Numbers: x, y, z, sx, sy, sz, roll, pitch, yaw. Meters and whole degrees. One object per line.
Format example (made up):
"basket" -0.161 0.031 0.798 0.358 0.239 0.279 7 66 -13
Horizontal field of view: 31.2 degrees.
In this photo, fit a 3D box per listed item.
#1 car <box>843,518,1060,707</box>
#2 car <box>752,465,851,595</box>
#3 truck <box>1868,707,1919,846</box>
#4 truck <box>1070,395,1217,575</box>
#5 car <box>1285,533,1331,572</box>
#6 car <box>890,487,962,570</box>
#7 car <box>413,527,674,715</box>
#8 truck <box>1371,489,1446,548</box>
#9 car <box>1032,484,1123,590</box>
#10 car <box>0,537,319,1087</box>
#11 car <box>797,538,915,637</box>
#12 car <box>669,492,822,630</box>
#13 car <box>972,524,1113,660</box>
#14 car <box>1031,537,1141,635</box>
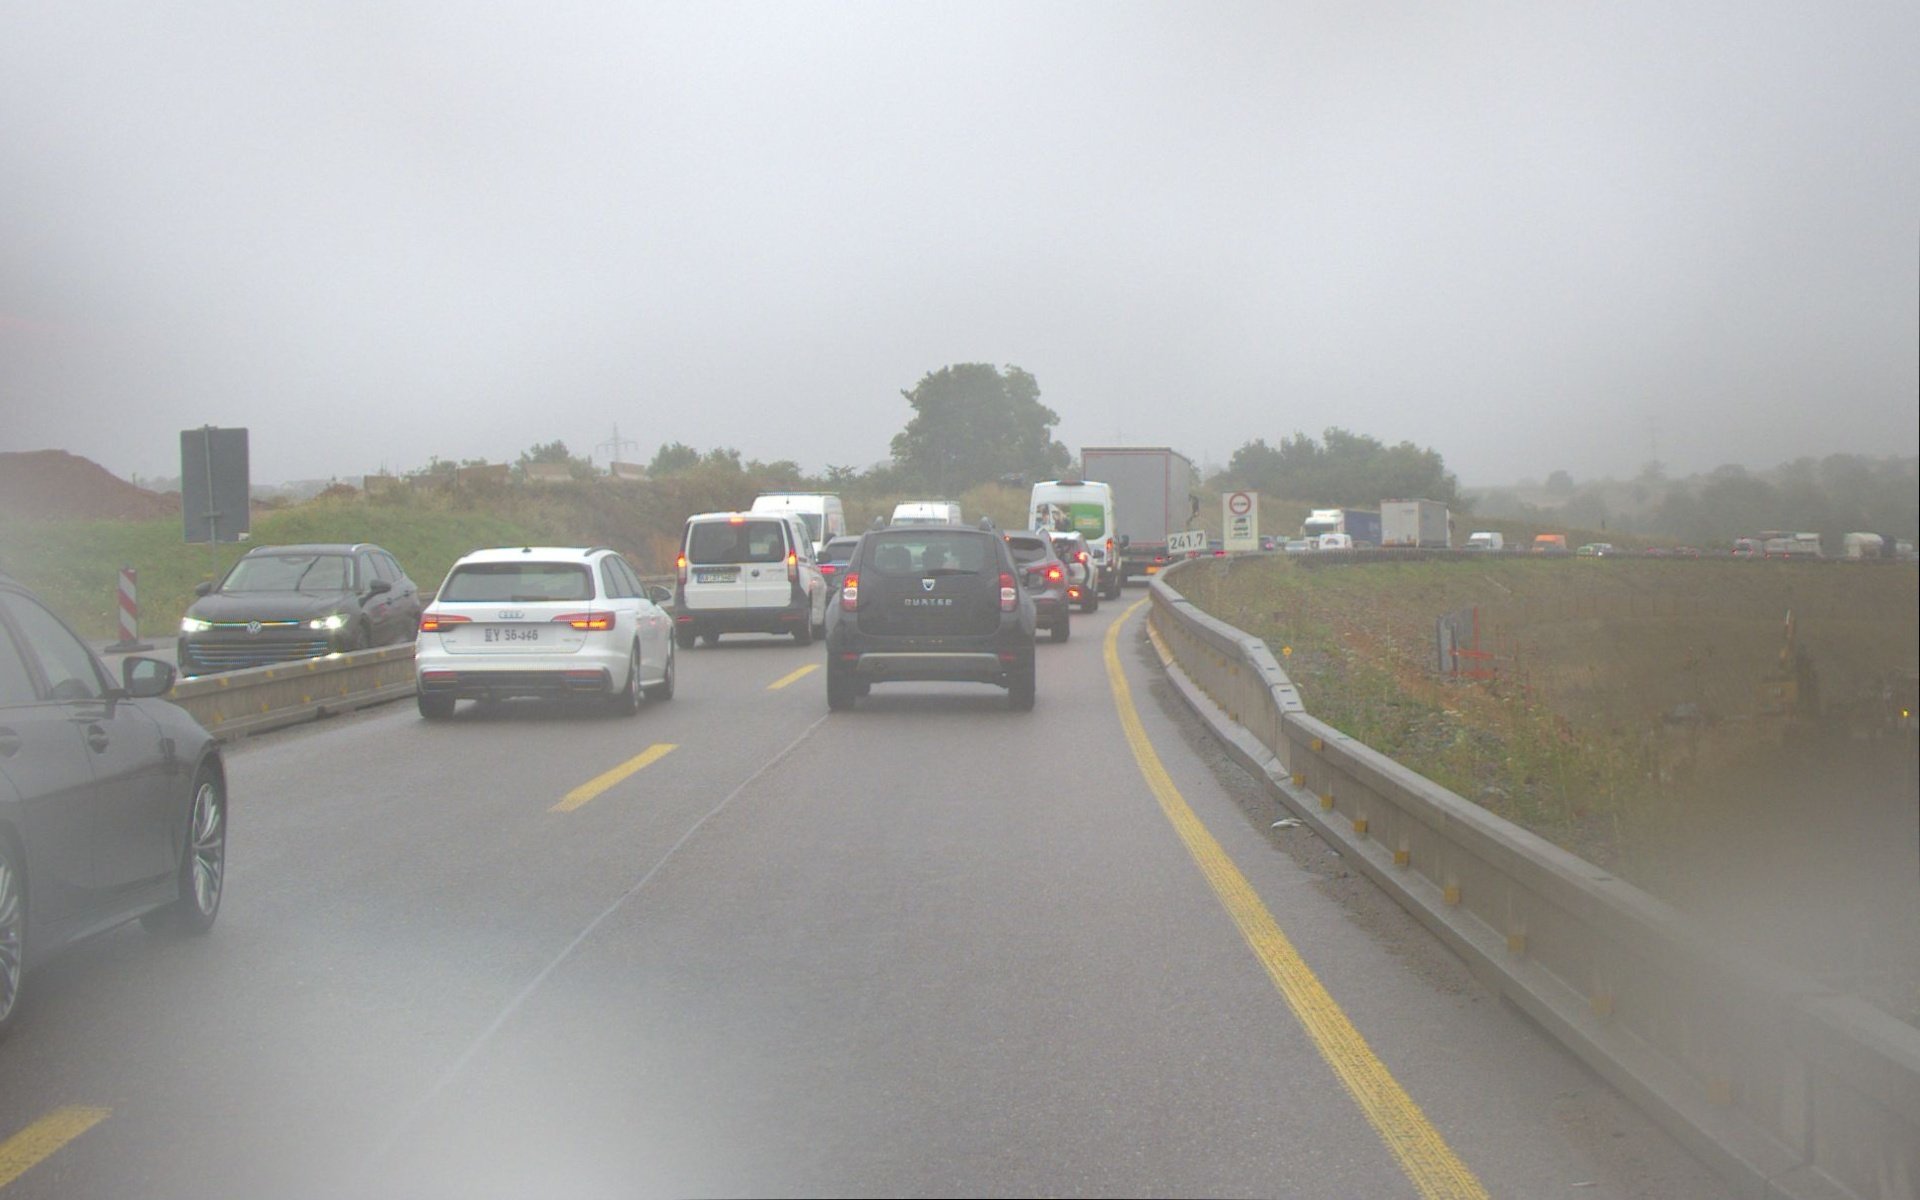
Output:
"car" -0.046 0.096 31.117 1.826 1.585 4.000 0 0 1
"car" -3.753 -1.685 82.370 1.993 3.003 5.780 0 1 1
"truck" 27.708 4.947 97.793 2.731 3.479 9.061 0 0 9
"truck" 5.586 -3.299 102.702 3.545 5.060 10.438 0 0 8
"car" 20.436 -2.773 201.859 2.036 2.248 4.155 0 0 15
"car" -1.057 -2.308 109.913 2.024 2.540 5.958 -1 1 2
"car" -3.507 0.159 29.572 1.826 1.494 4.000 0 0 -1
"truck" 29.281 -5.330 224.246 3.475 3.702 8.411 -1 1 17
"car" 2.782 -1.453 80.971 1.827 2.429 4.157 0 0 6
"car" -3.623 0.587 11.872 1.735 1.457 5.630 0 2 0
"car" -1.944 -0.246 65.250 1.826 1.809 3.999 0 0 4
"car" -2.919 -0.529 47.513 1.826 1.809 4.000 0 0 1
"car" 1.191 -0.123 47.939 1.826 1.809 4.000 0 0 3
"car" 2.457 -0.278 66.230 1.827 1.809 3.999 0 0 6
